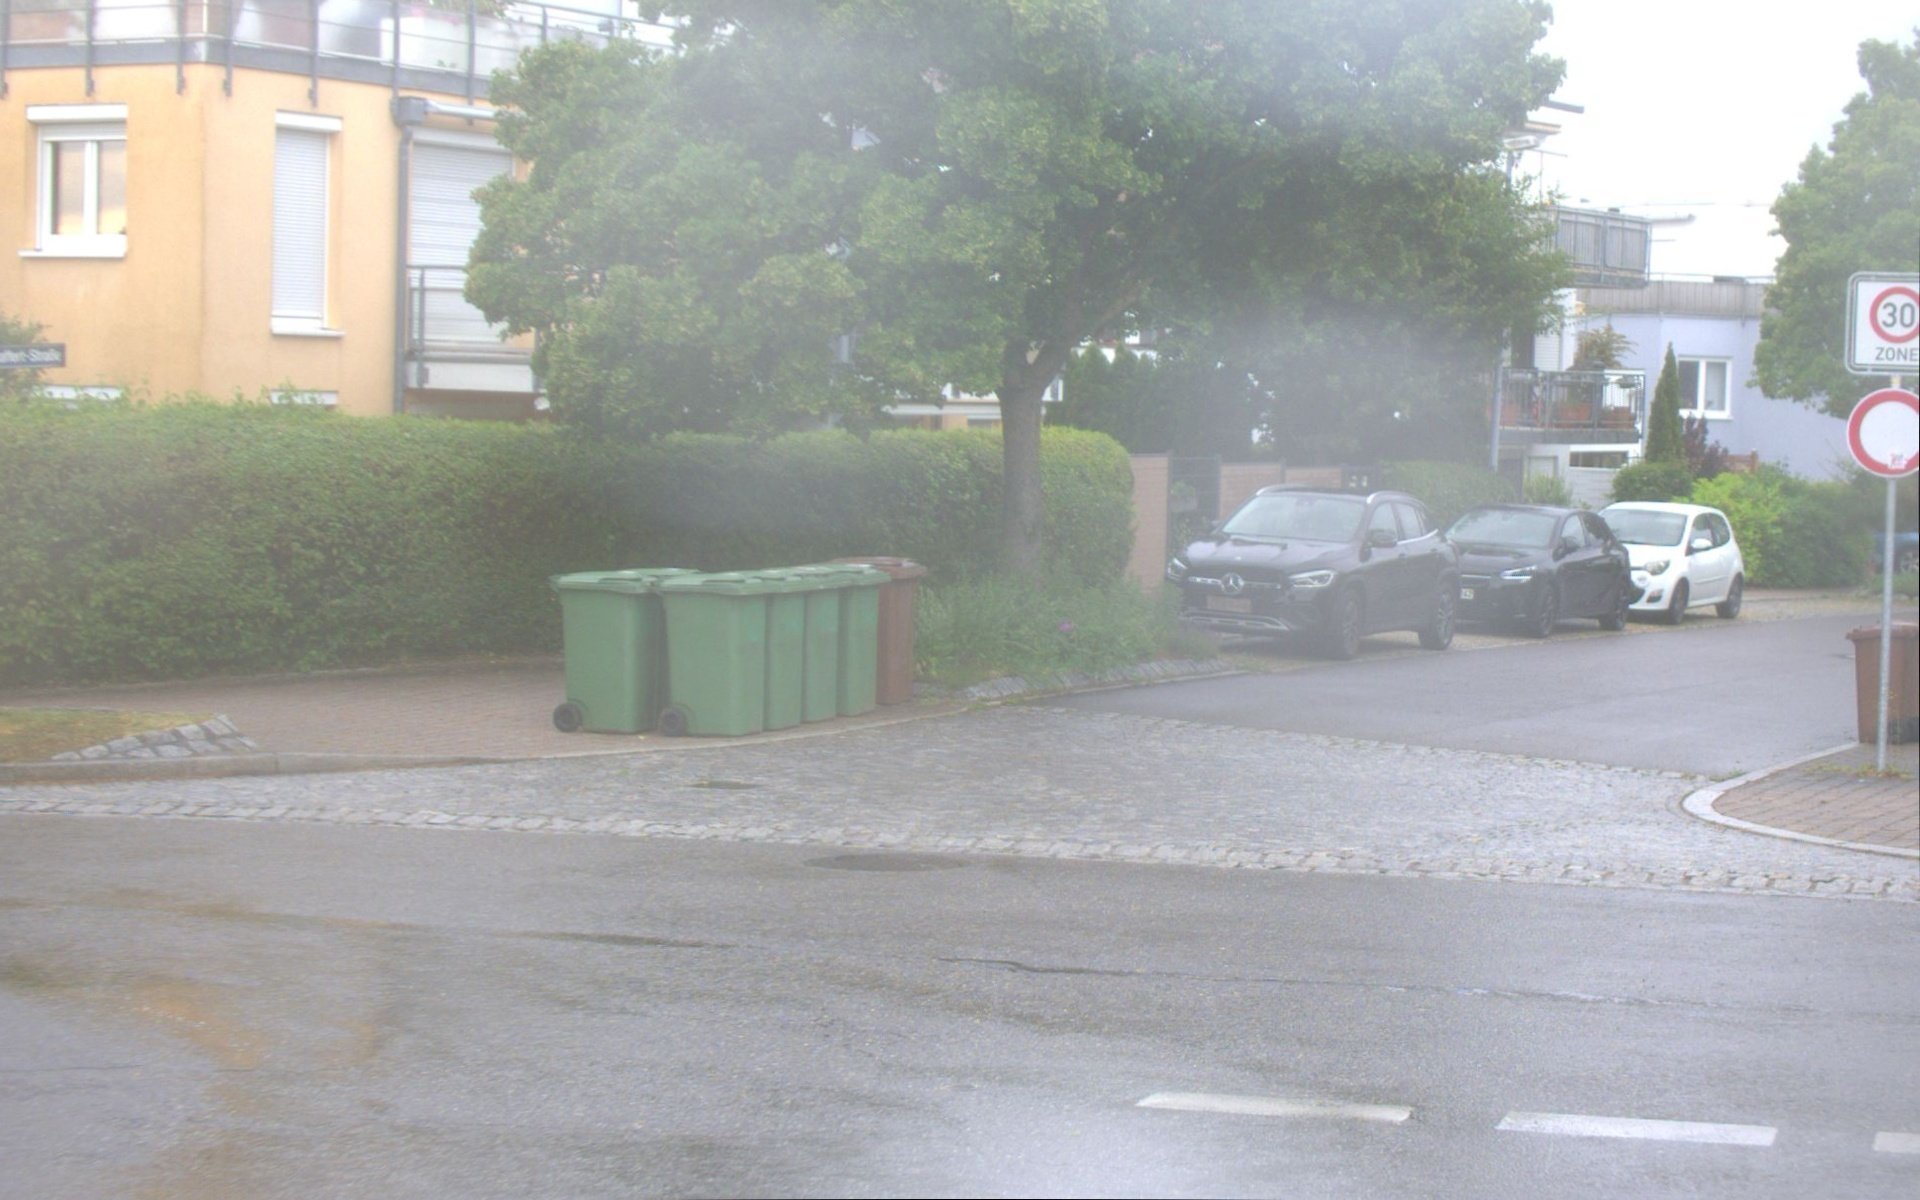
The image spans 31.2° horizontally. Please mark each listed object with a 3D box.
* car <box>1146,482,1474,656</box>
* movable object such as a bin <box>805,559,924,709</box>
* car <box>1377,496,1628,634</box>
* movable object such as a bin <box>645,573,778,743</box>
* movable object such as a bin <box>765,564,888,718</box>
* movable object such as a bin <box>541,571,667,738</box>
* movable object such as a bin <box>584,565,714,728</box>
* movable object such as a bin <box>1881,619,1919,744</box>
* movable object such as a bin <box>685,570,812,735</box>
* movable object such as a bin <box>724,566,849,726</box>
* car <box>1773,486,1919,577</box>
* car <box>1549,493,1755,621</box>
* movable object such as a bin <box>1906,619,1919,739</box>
[{"bbox_3d":[3.543,-0.352,34.151,1.778,1.513,4.131,5,4,27],"label":"car"},{"bbox_3d":[-0.701,0.242,25.308,0.695,1.051,0.605,2,3,20],"label":"movable object such as a bin"},{"bbox_3d":[6.270,-0.435,39.467,1.638,1.404,3.599,5,4,29],"label":"car"},{"bbox_3d":[-1.650,0.377,22.867,0.695,1.071,0.601,2,3,20],"label":"movable object such as a bin"},{"bbox_3d":[-0.951,0.284,24.559,0.695,1.051,0.605,2,3,20],"label":"movable object such as a bin"},{"bbox_3d":[-2.390,0.358,23.111,0.666,1.070,0.543,2,3,20],"label":"movable object such as a bin"},{"bbox_3d":[-2.139,0.314,23.675,0.695,1.068,0.597,2,3,20],"label":"movable object such as a bin"},{"bbox_3d":[7.486,0.632,26.498,0.571,0.928,0.529,3,3,33],"label":"movable object such as a bin"},{"bbox_3d":[-1.439,0.348,23.443,0.695,1.071,0.543,2,3,20],"label":"movable object such as a bin"},{"bbox_3d":[-1.210,0.313,23.995,0.695,1.063,0.578,2,3,20],"label":"movable object such as a bin"},{"bbox_3d":[17.409,-1.249,64.148,3.992,1.562,1.906,3,2,24],"label":"car"},{"bbox_3d":[8.850,-0.566,43.812,1.513,1.471,3.268,5,4,30],"label":"car"},{"bbox_3d":[7.804,0.624,26.964,0.571,0.928,0.529,3,3,33],"label":"movable object such as a bin"}]
